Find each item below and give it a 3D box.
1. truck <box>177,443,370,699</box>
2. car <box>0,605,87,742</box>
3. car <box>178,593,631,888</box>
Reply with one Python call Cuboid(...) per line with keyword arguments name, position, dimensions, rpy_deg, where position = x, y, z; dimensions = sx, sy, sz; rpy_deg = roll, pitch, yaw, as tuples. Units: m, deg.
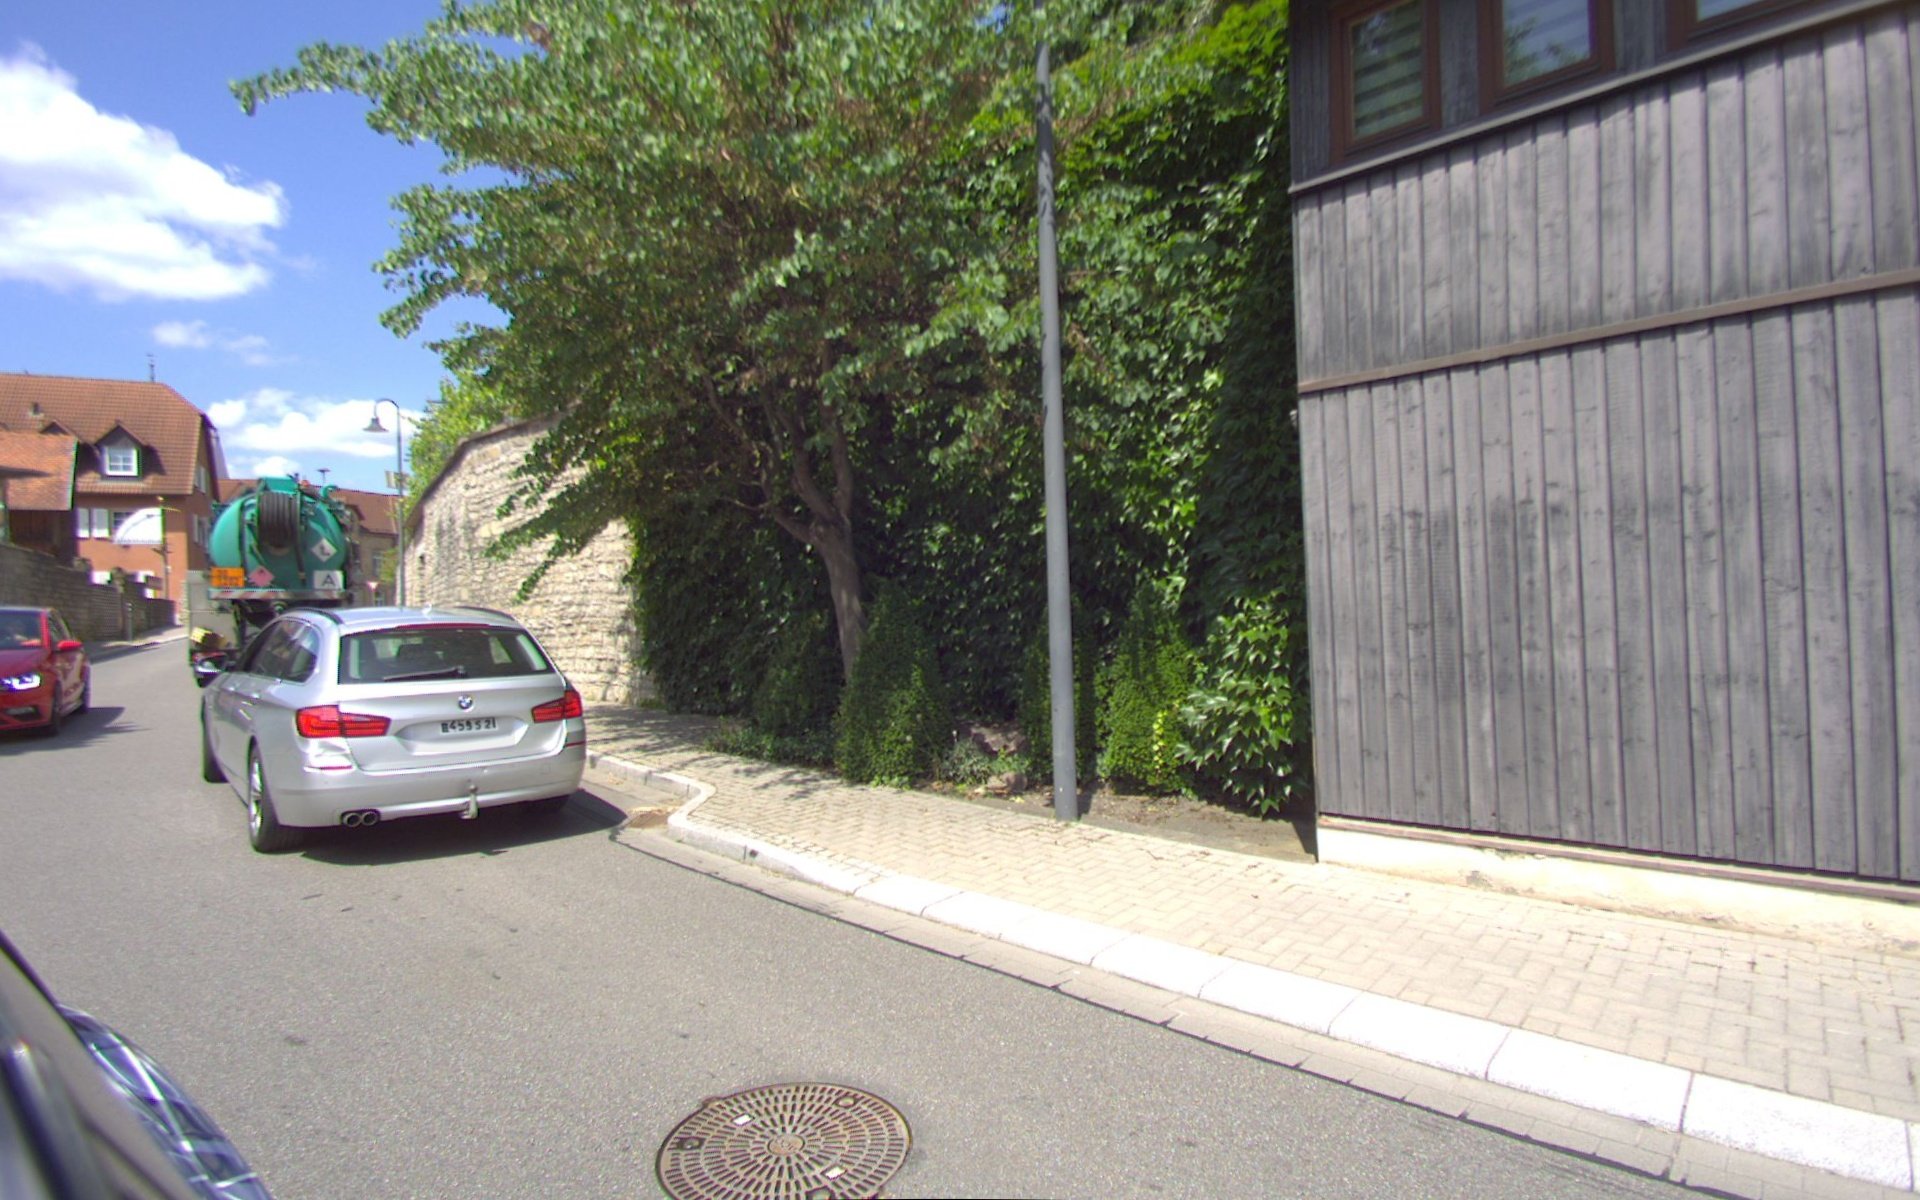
Cuboid(name="truck", position=(-12.922, -0.419, 19.229), dimensions=(2.379, 3.685, 9.593), rpy_deg=(0, 0, -34))
Cuboid(name="car", position=(-10.910, 0.743, 11.184), dimensions=(1.643, 1.362, 3.502), rpy_deg=(0, 0, -36))
Cuboid(name="car", position=(-4.365, 0.761, 7.521), dimensions=(1.873, 1.512, 4.618), rpy_deg=(0, -1, -43))
